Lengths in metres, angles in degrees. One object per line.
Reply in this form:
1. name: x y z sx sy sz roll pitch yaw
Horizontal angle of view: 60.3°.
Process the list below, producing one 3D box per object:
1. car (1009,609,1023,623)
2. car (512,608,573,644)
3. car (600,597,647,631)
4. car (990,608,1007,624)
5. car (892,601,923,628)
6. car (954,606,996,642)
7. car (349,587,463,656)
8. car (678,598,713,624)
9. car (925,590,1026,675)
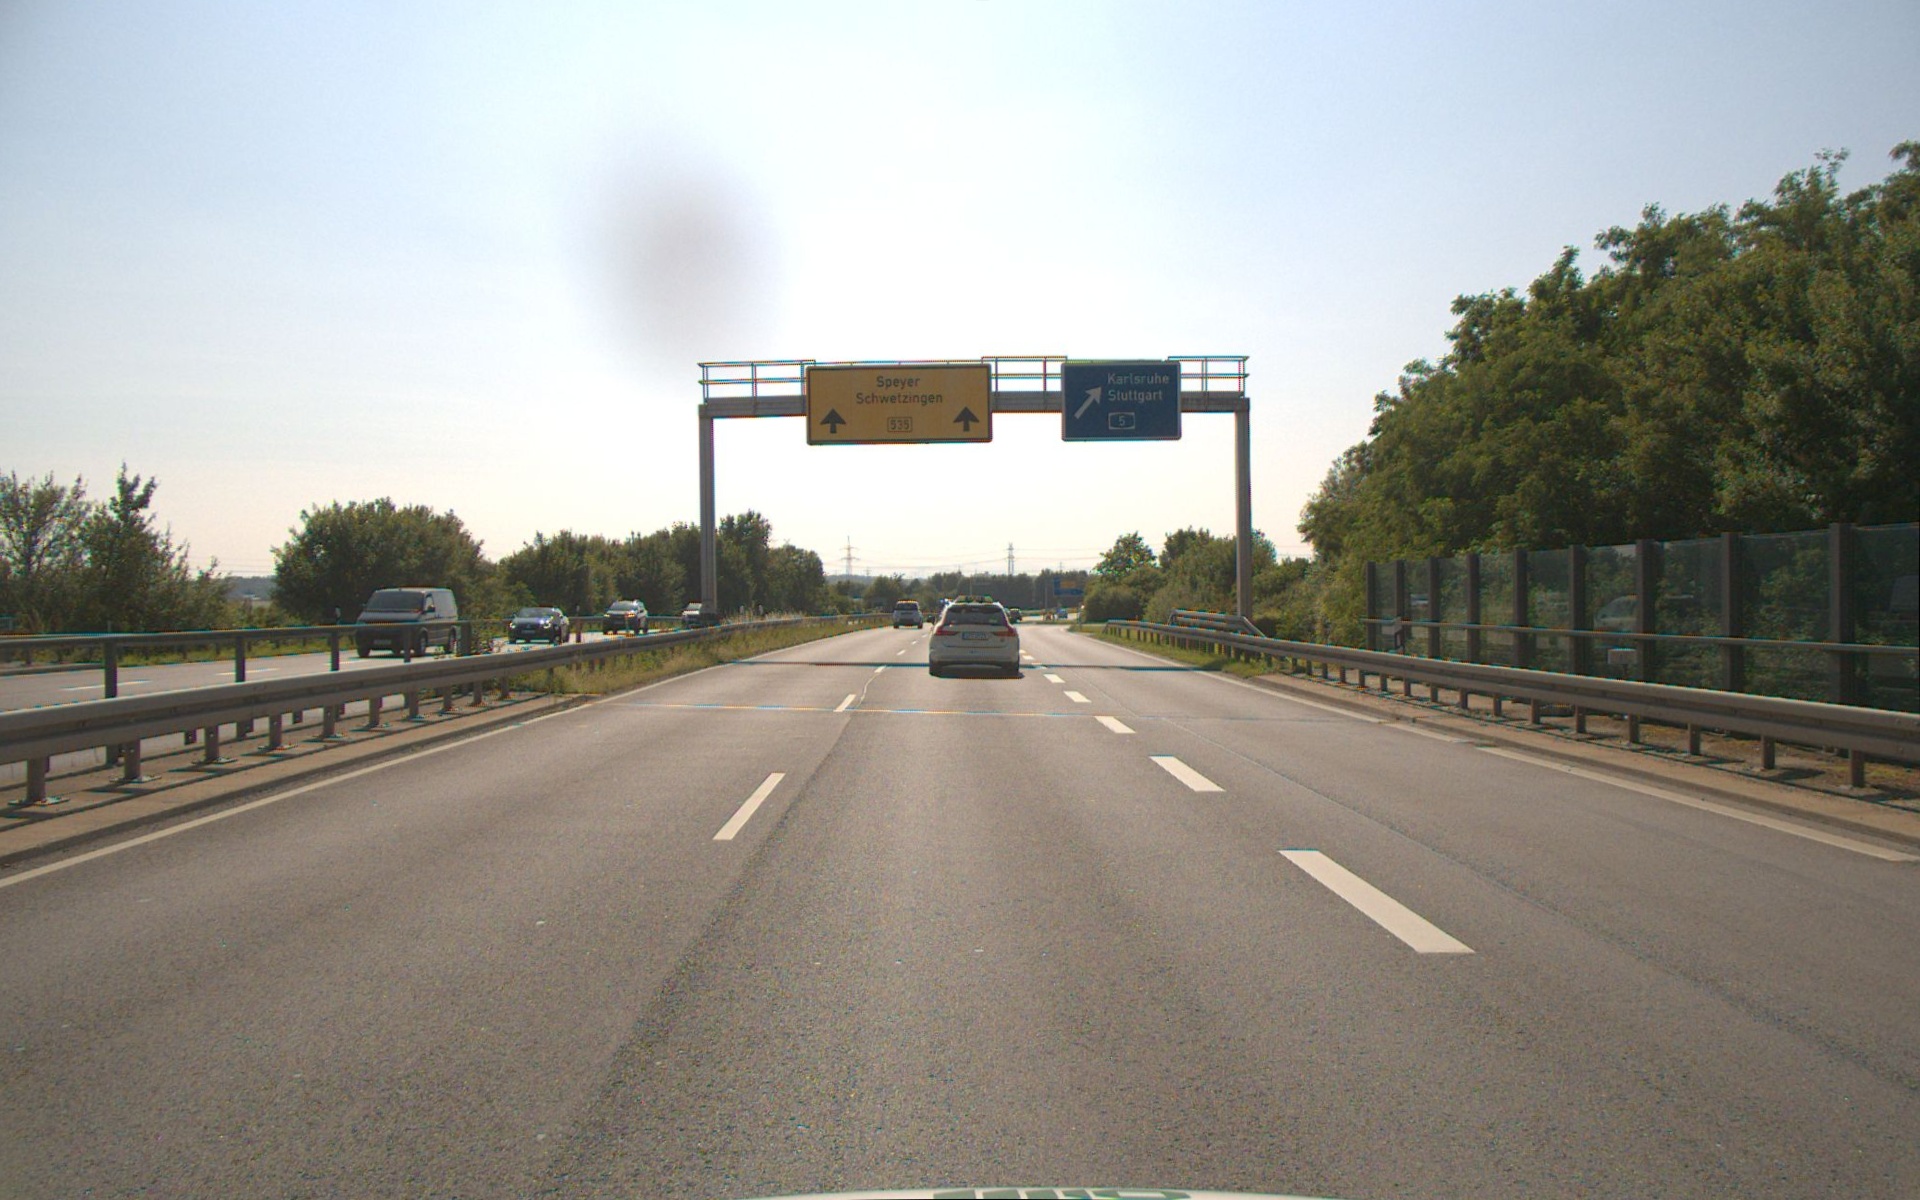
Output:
1. car: 7.258 2.093 214.267 1.803 1.728 4.000 0 -1 0
2. car: -16.034 0.968 63.645 1.534 1.292 3.714 0 0 -2
3. car: -16.905 0.689 83.241 1.698 1.645 4.001 0 0 -2
4. car: 4.420 1.852 188.061 1.803 1.834 3.999 0 -1 -1
5. car: -3.043 0.836 95.909 1.757 1.529 4.041 0 0 -2
6. car: 0.645 1.044 73.101 1.757 1.570 3.671 0 0 -1
7. car: -16.324 0.606 48.966 1.953 1.939 4.416 0 0 -1
8. car: -17.550 0.721 109.943 1.864 1.648 4.626 1 0 -4
9. car: 0.259 0.629 34.694 1.919 1.629 4.105 1 0 -2
